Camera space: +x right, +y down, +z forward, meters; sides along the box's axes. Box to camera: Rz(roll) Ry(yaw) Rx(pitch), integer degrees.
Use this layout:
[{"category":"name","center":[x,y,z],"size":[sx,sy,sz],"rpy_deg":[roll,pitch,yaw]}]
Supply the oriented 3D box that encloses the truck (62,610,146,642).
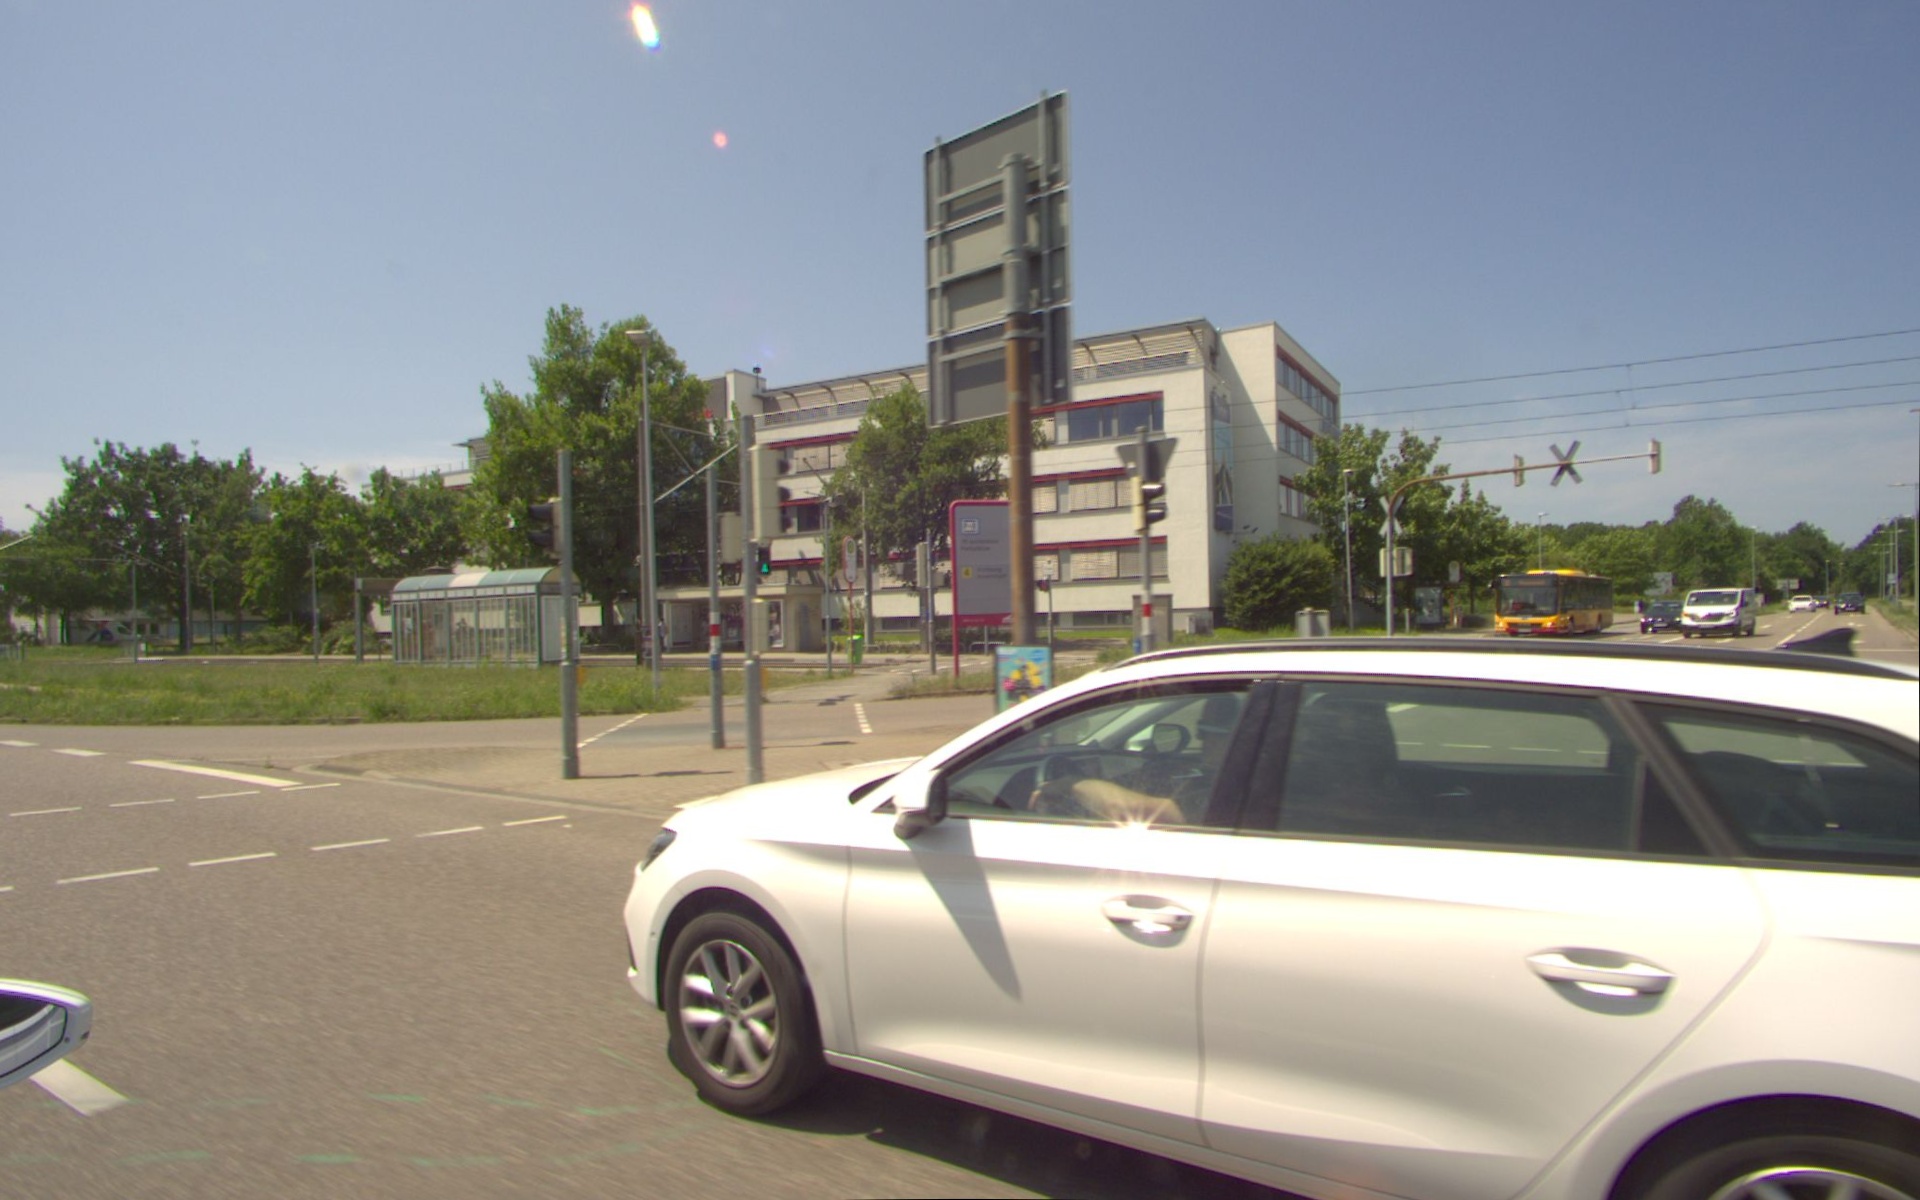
[{"category":"truck","center":[-84.505,2.507,98.950],"size":[2.284,2.881,5.836],"rpy_deg":[-2,0,26]}]

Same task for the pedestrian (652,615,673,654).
[{"category":"pedestrian","center":[-12.567,1.450,42.270],"size":[0.681,1.628,0.550],"rpy_deg":[-2,-2,35]}]

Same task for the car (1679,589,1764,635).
[{"category":"car","center":[31.209,0.527,40.966],"size":[5.020,1.750,1.812],"rpy_deg":[1,-3,-42]}]

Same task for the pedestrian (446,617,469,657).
[{"category":"pedestrian","center":[-23.809,1.771,47.443],"size":[0.699,1.865,0.695],"rpy_deg":[-2,-2,19]}]

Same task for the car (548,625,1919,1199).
[{"category":"car","center":[0.887,0.809,3.033],"size":[4.386,1.407,1.680],"rpy_deg":[-2,-1,31]}]

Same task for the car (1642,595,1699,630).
[{"category":"car","center":[34.321,0.610,48.340],"size":[1.657,1.600,3.963],"rpy_deg":[-1,-1,44]}]

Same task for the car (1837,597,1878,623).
[{"category":"car","center":[63.763,0.731,71.181],"size":[1.976,1.812,3.970],"rpy_deg":[-2,-1,39]}]

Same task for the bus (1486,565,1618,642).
[{"category":"bus","center":[27.968,0.233,46.941],"size":[2.810,3.159,11.974],"rpy_deg":[-3,-3,43]}]
